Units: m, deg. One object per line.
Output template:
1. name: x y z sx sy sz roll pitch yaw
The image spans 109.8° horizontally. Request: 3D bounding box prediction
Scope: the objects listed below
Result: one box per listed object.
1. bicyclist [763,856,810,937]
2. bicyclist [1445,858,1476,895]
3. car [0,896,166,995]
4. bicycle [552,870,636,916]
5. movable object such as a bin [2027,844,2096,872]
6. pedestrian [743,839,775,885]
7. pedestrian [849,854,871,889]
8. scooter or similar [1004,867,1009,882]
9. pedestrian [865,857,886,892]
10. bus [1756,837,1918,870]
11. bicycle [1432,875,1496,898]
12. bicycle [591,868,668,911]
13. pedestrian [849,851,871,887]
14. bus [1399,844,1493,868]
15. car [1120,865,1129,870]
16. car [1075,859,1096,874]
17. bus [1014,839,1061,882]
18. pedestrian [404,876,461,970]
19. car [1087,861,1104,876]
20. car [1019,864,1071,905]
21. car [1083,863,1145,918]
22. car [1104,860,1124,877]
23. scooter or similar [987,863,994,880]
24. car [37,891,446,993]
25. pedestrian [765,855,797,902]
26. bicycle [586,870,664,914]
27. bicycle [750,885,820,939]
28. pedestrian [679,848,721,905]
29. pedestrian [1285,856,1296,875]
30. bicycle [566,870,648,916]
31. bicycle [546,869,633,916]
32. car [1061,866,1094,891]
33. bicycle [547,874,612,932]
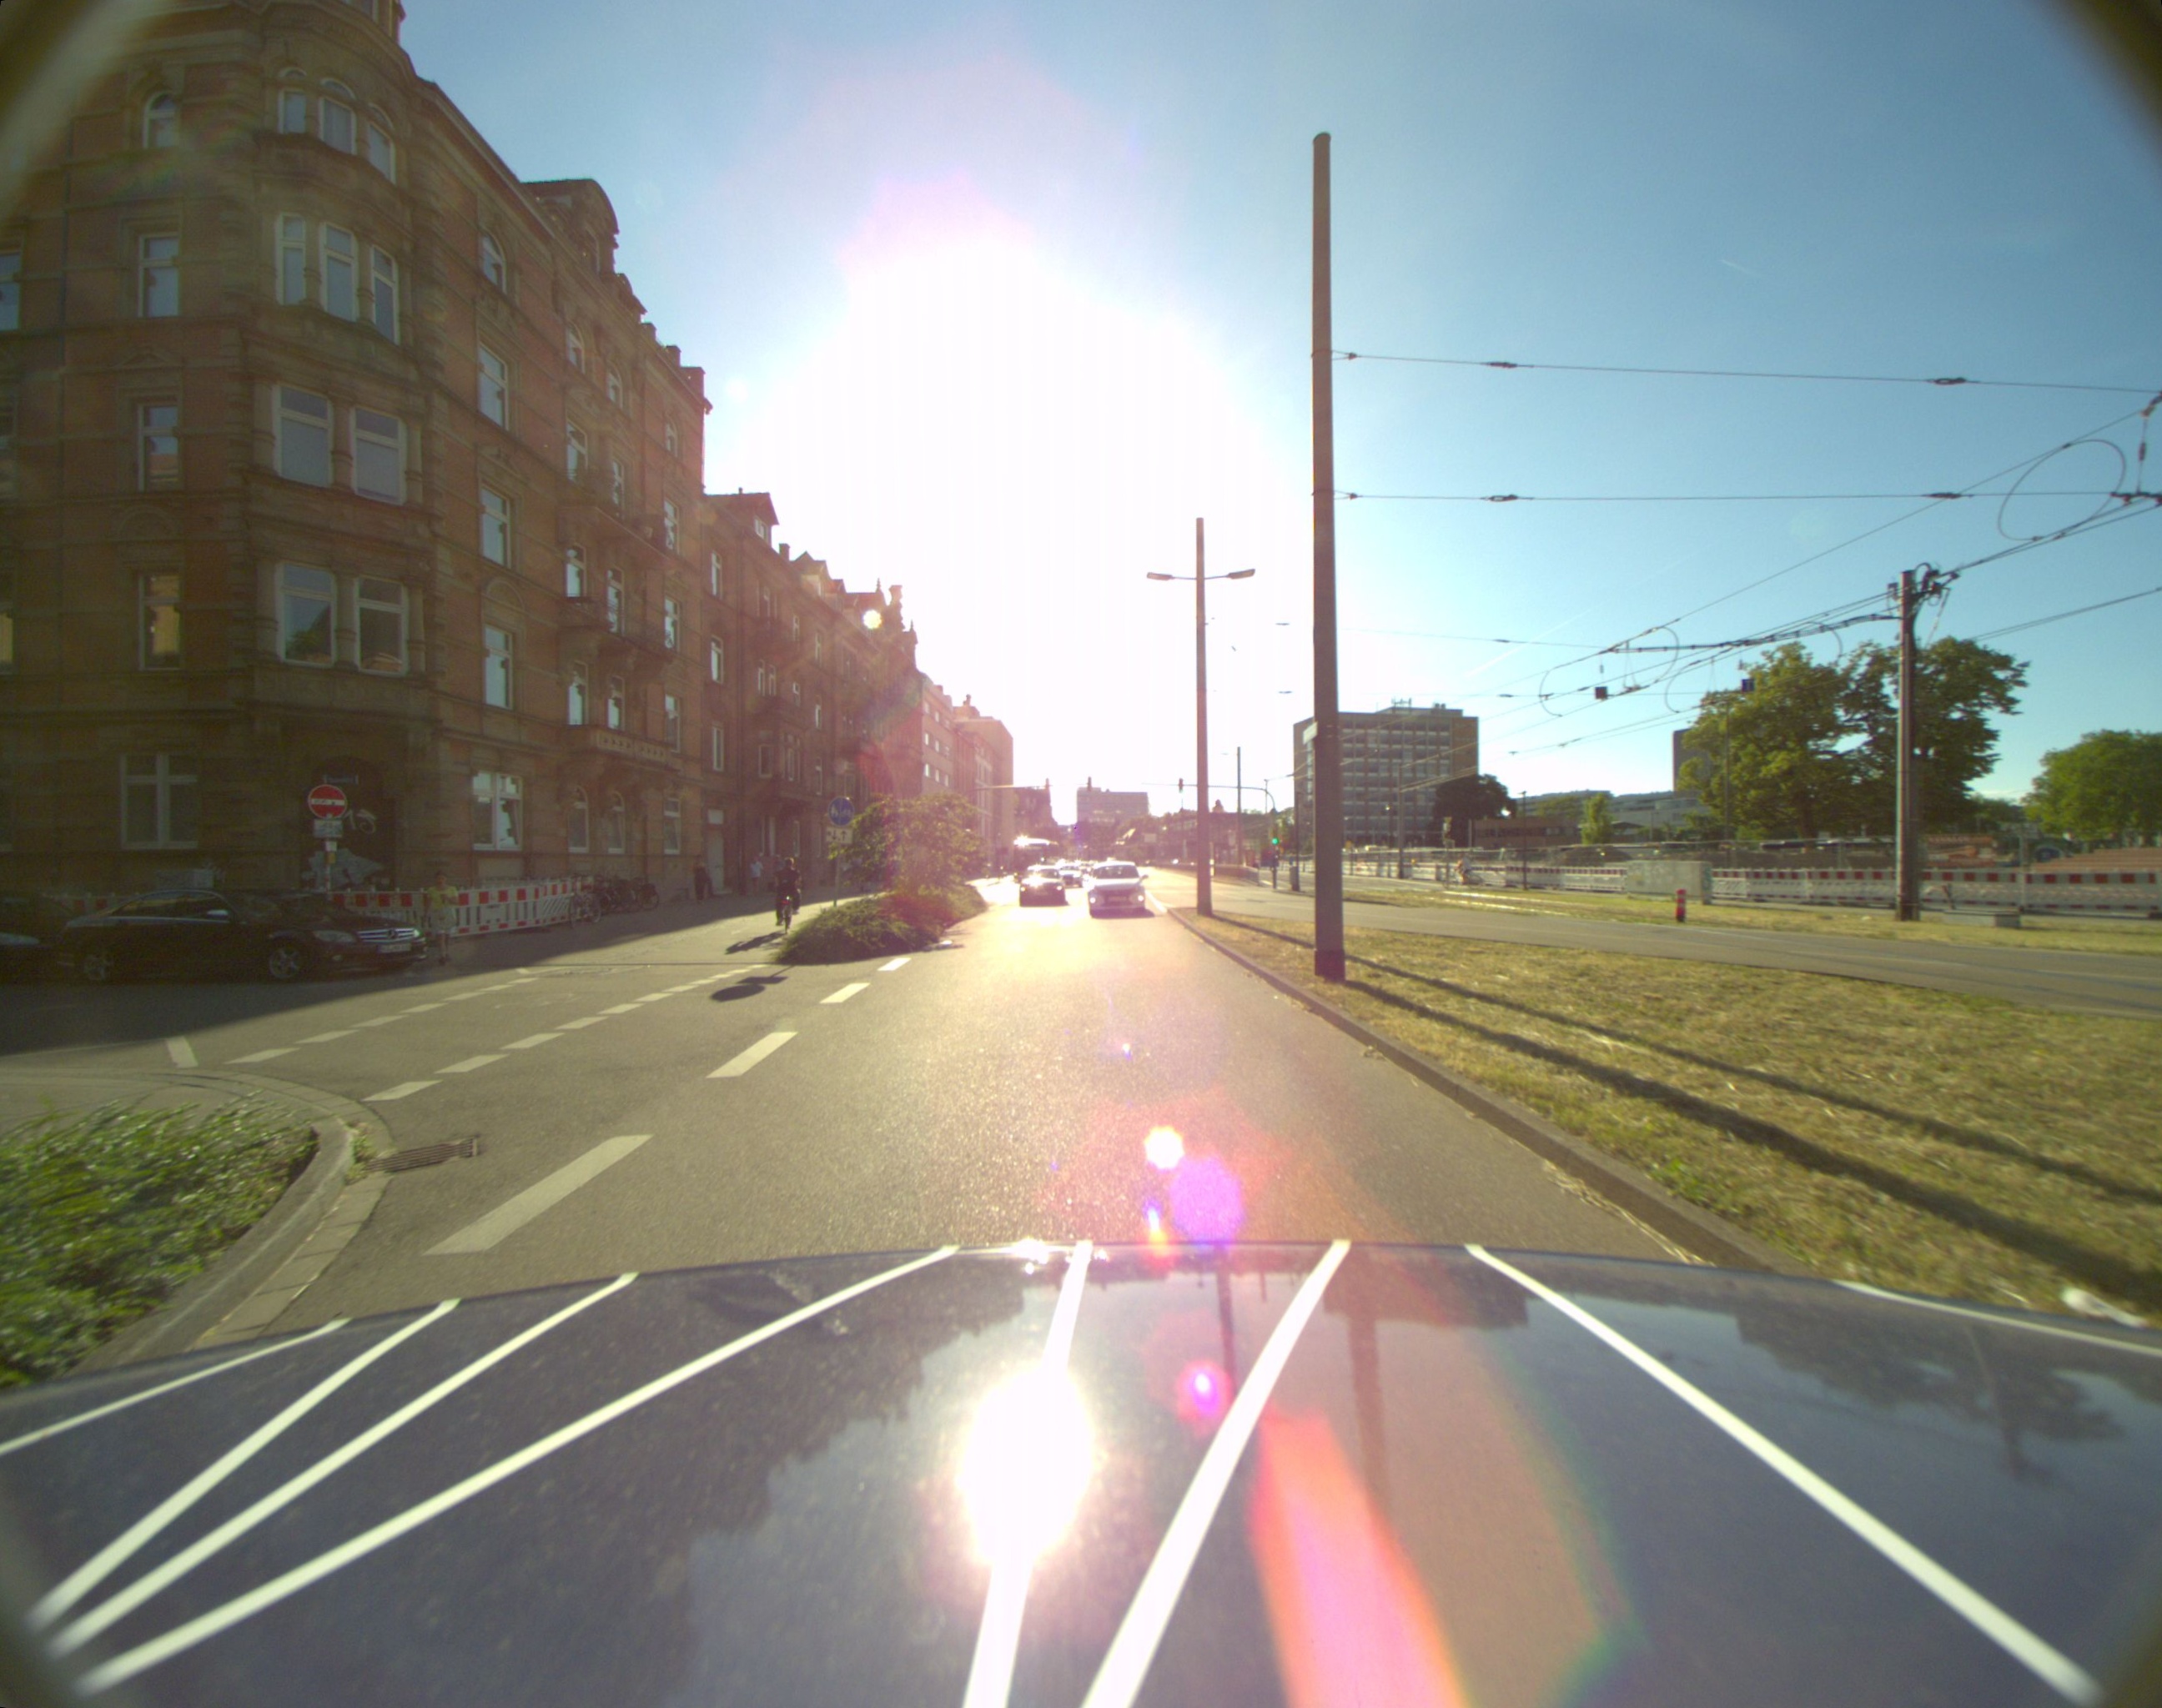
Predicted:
1. bicyclist: -6.821 0.952 17.646 0.643 1.804 1.052 1 1 1
2. bicyclist: 18.987 1.143 38.060 1.316 1.797 0.968 -2 -3 26
3. car: -17.382 1.361 11.846 4.260 1.406 1.814 0 -3 5
4. bicycle: -13.305 1.065 20.788 1.890 1.232 0.490 1 1 -10
5. movable object such as a bin: 76.196 0.343 59.077 4.003 2.001 1.998 2 -3 -18
6. pedestrian: -13.508 0.333 31.930 0.824 1.918 1.137 0 0 2
7. pedestrian: -10.790 0.851 37.104 0.704 1.646 1.137 0 0 2
8. scooter or similar: -6.258 1.728 63.772 0.432 1.242 1.294 1 1 -7
9. pedestrian: -10.011 0.987 37.070 0.704 1.646 1.137 0 0 2
10. bus: 84.027 0.096 84.905 3.259 3.173 12.626 3 -4 -44
11. bicycle: 19.116 1.623 37.966 2.817 1.090 0.968 -2 -3 26
12. bicycle: -13.371 1.056 22.535 1.890 1.232 0.490 1 1 -10
13. pedestrian: -12.051 0.817 41.407 0.824 1.918 1.137 0 0 2
14. bus: 54.776 0.414 114.487 2.848 3.173 12.626 3 -4 -44
15. car: 13.789 4.376 240.659 1.757 1.455 4.017 -1 -2 -10
16. car: 0.491 1.262 76.826 1.782 1.455 3.917 0 0 5
17. bus: -3.402 0.537 63.017 2.721 3.162 12.544 1 0 2
18. pedestrian: -11.068 1.157 12.975 0.701 1.525 0.663 0 0 43
19. car: 1.784 1.886 96.716 1.999 1.673 4.001 1 -3 -1
20. car: -1.345 1.133 29.630 1.694 1.380 3.832 -2 0 2
21. car: 1.020 1.047 23.073 1.720 1.483 3.871 0 0 3
22. car: 3.543 1.576 83.180 1.998 1.666 4.283 -2 0 0
23. scooter or similar: -7.024 1.341 59.017 0.432 1.242 1.293 1 1 -10
24. car: -12.577 1.285 11.599 4.261 1.406 1.814 0 -3 2
25. pedestrian: -12.574 1.023 31.881 0.824 1.918 1.137 0 0 2
26. bicycle: -13.177 1.088 21.990 1.890 1.232 0.490 1 1 -10
27. bicycle: -6.822 1.313 17.634 0.643 1.042 2.360 1 1 2
28. pedestrian: -12.981 0.758 25.897 0.824 1.918 1.137 0 0 2
29. pedestrian: 20.252 1.148 73.556 0.804 1.757 1.180 1 -3 2
30. bicycle: -13.315 1.099 21.377 1.890 1.232 0.490 1 1 -10
31. bicycle: -13.110 1.024 20.305 1.890 1.232 0.490 1 1 -10
32. car: -0.184 1.423 45.009 1.825 1.379 4.458 1 -2 0
33. bicycle: -11.855 1.121 18.024 0.490 1.232 1.888 1 1 -7
